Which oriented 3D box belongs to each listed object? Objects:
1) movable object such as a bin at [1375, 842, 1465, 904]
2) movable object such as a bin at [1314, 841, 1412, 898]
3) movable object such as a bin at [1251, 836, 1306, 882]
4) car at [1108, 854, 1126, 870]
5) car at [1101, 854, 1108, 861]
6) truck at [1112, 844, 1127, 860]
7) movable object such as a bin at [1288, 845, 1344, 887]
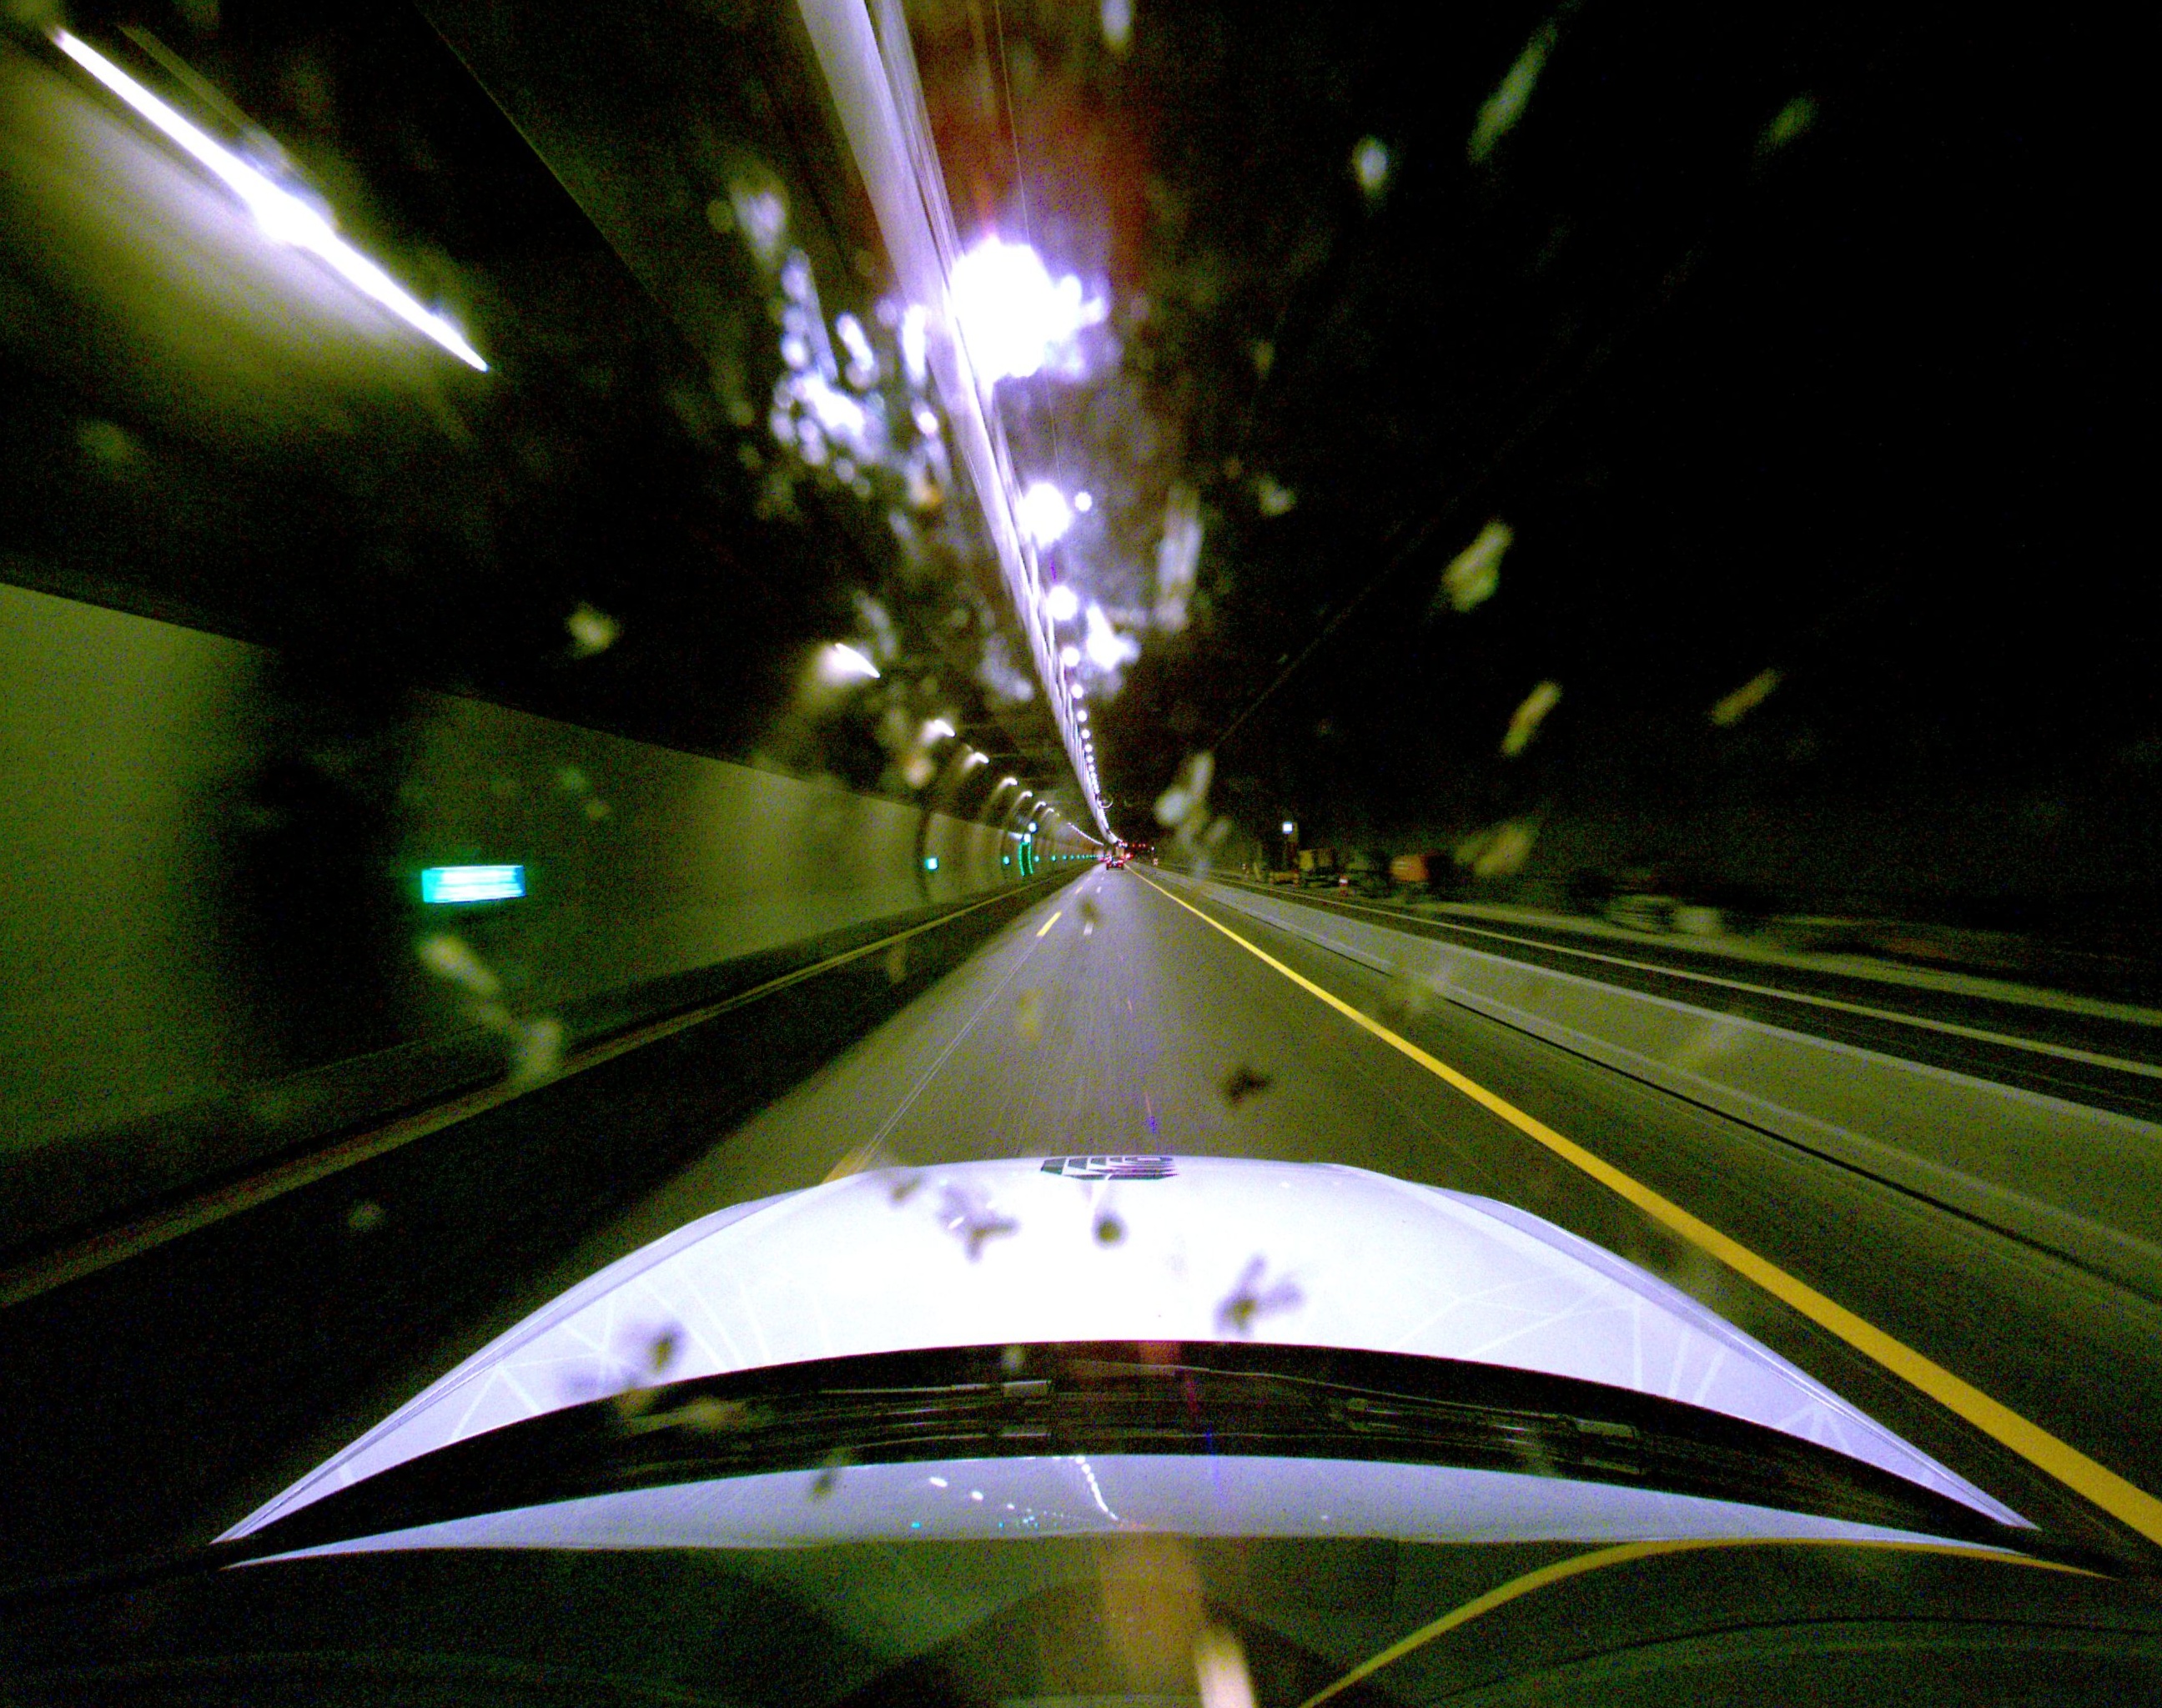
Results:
[{"bbox_3d":[9.779,0.513,23.679,1.298,1.593,3.056,-5,0,2],"label":"movable object such as a bin"},{"bbox_3d":[9.755,0.493,28.549,1.853,1.675,4.503,-5,0,2],"label":"movable object such as a bin"},{"bbox_3d":[9.687,0.258,40.248,1.677,2.145,4.629,-1,-1,2],"label":"movable object such as a bin"},{"bbox_3d":[3.785,0.828,86.827,1.881,1.607,4.001,-1,-1,2],"label":"car"},{"bbox_3d":[5.736,0.925,198.878,1.820,1.607,4.001,-1,-1,2],"label":"car"},{"bbox_3d":[12.448,-0.714,261.473,4.525,4.987,9.609,-1,-1,4],"label":"truck"},{"bbox_3d":[9.985,0.499,34.782,1.550,1.709,3.056,-1,-1,2],"label":"movable object such as a bin"}]
